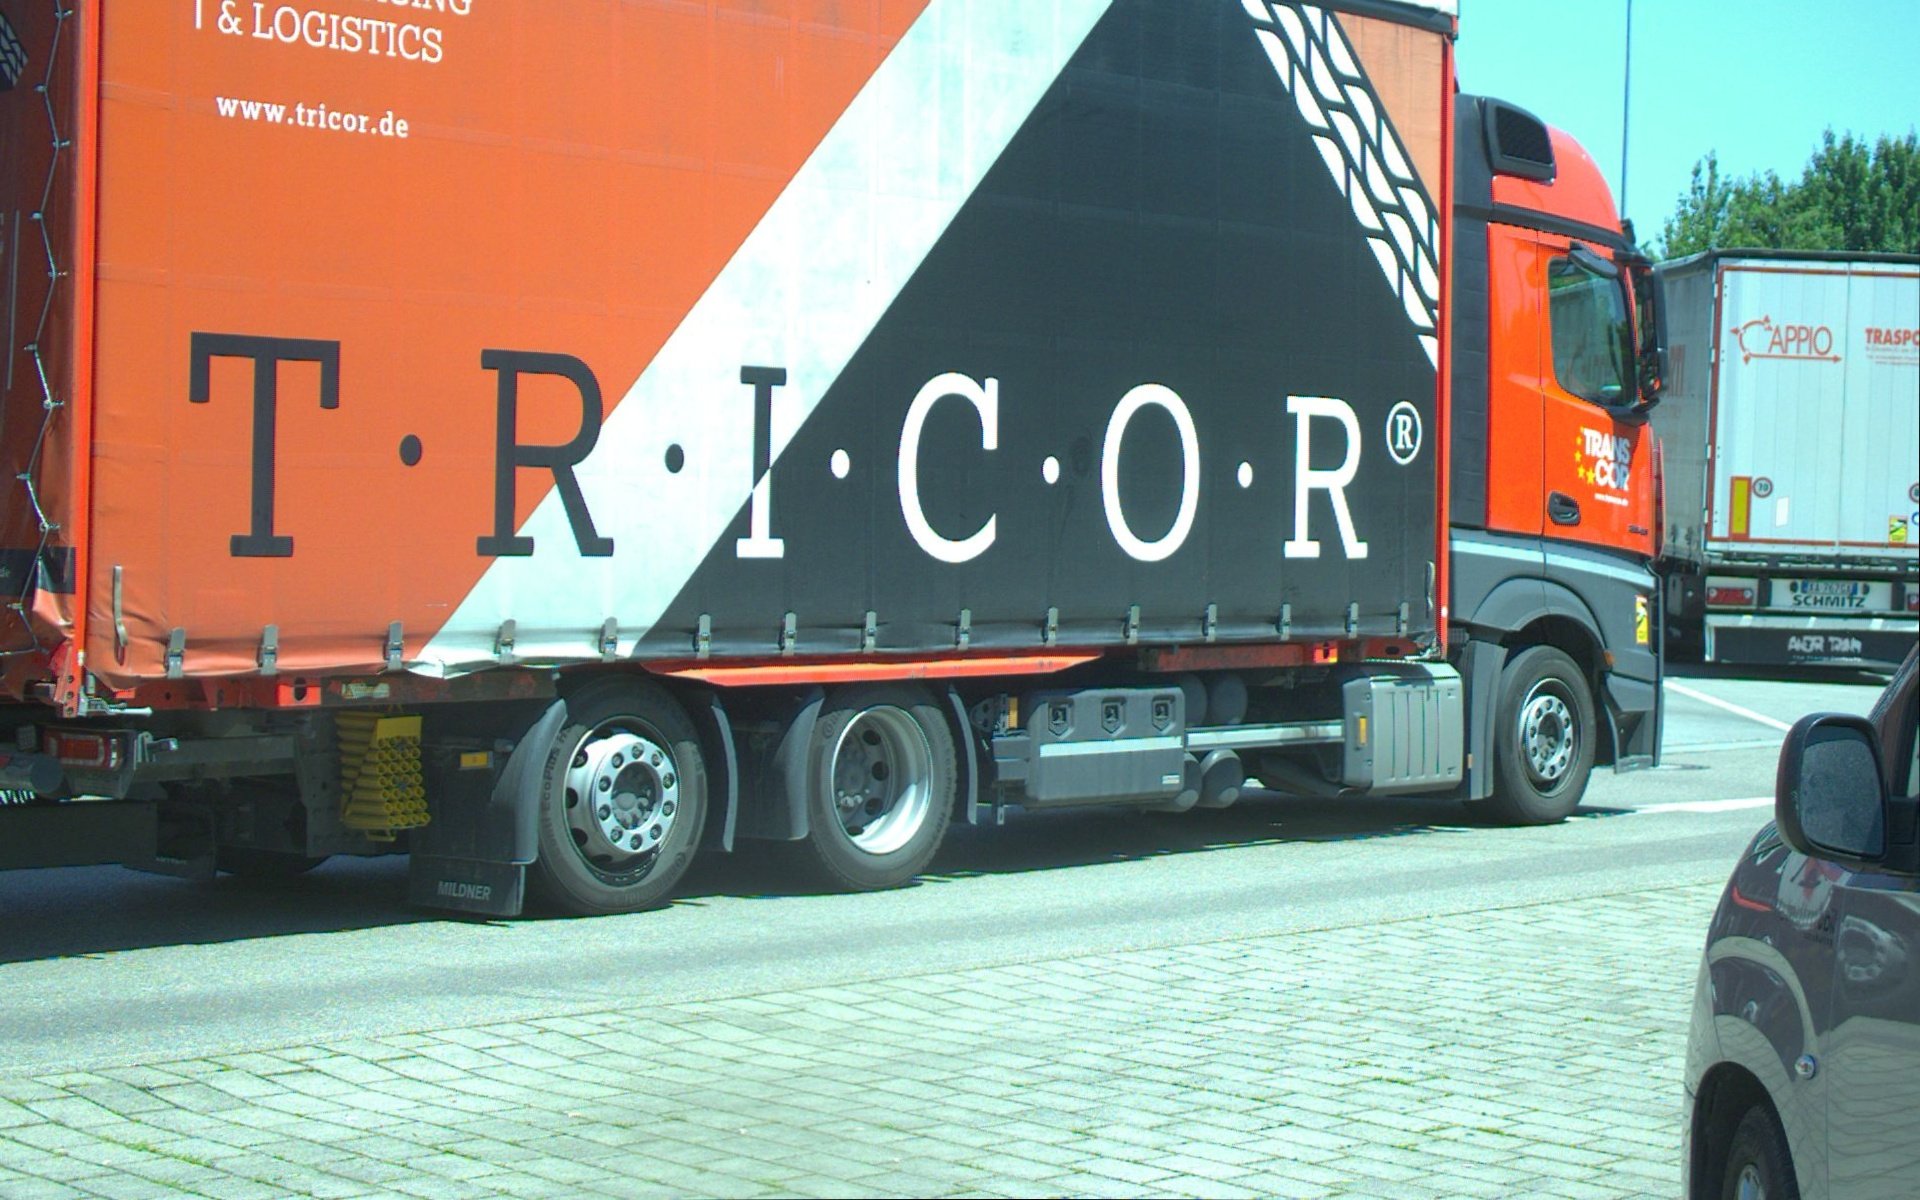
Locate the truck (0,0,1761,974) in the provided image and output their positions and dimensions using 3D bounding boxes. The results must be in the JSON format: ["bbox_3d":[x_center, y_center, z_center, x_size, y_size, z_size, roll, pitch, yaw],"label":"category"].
[{"bbox_3d":[-0.271,-1.016,15.400,2.692,4.113,10.579,2,2,42],"label":"truck"}]

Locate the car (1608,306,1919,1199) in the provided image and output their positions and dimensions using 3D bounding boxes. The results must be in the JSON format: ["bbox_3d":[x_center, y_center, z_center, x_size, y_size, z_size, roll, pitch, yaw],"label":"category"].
[{"bbox_3d":[2.137,0.535,3.787,1.825,1.747,4.001,1,2,-4],"label":"car"}]

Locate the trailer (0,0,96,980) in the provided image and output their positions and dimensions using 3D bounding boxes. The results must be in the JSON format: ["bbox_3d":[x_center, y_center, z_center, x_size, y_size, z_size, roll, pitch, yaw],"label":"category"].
[{"bbox_3d":[-6.633,-0.950,8.375,2.841,4.243,8.664,2,2,42],"label":"trailer"}]

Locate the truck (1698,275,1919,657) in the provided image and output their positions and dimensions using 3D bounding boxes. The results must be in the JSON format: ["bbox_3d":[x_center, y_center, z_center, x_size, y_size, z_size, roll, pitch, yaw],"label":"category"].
[{"bbox_3d":[11.739,-1.483,39.797,2.904,4.110,14.528,3,2,-1],"label":"truck"}]

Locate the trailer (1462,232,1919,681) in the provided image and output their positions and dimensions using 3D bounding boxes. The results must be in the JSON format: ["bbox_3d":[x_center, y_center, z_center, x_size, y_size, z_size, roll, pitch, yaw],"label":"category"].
[{"bbox_3d":[8.149,-1.545,38.466,2.876,4.110,13.572,1,2,-1],"label":"trailer"}]
